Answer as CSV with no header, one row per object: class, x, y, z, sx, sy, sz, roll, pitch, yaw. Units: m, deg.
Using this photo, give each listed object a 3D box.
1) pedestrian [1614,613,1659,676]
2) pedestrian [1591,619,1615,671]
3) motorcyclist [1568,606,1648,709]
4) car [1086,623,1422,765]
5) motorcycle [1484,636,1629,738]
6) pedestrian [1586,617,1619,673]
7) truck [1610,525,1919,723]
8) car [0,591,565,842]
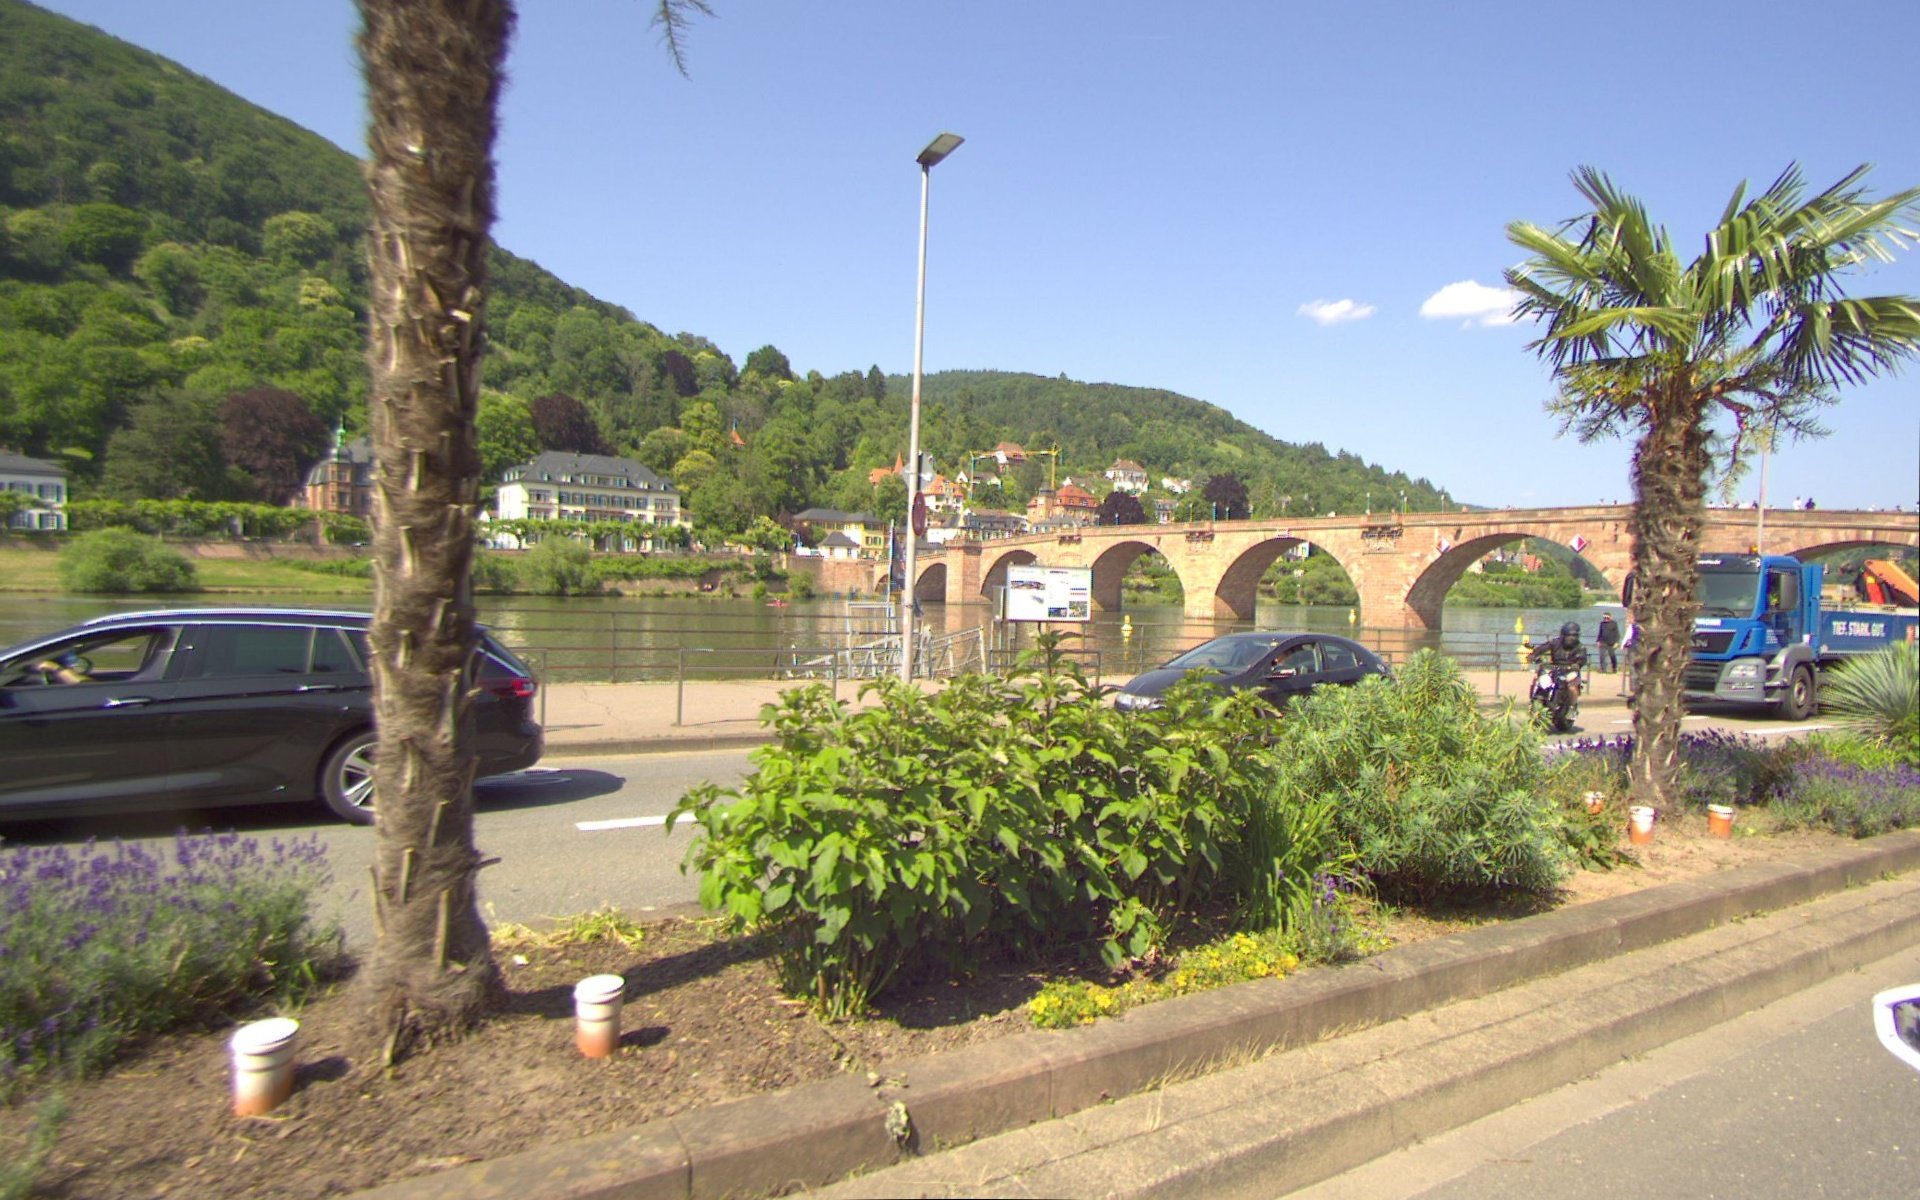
pedestrian,19.302,1.268,28.660,0.835,1.729,0.708,2,1,-29
pedestrian,18.773,1.310,29.340,0.409,1.505,0.348,2,3,-29
motorcyclist,10.097,0.881,15.663,0.851,1.547,0.698,2,0,-29
car,3.694,1.098,12.463,4.032,1.455,1.649,2,0,-30
motorcycle,8.974,1.276,15.077,2.481,1.405,0.723,2,0,-30
pedestrian,18.763,1.314,29.329,0.409,1.578,0.585,2,3,-29
truck,18.461,0.588,21.803,10.978,3.522,2.629,2,0,-31
car,-5.524,0.702,7.047,4.863,1.437,1.984,2,0,-31
